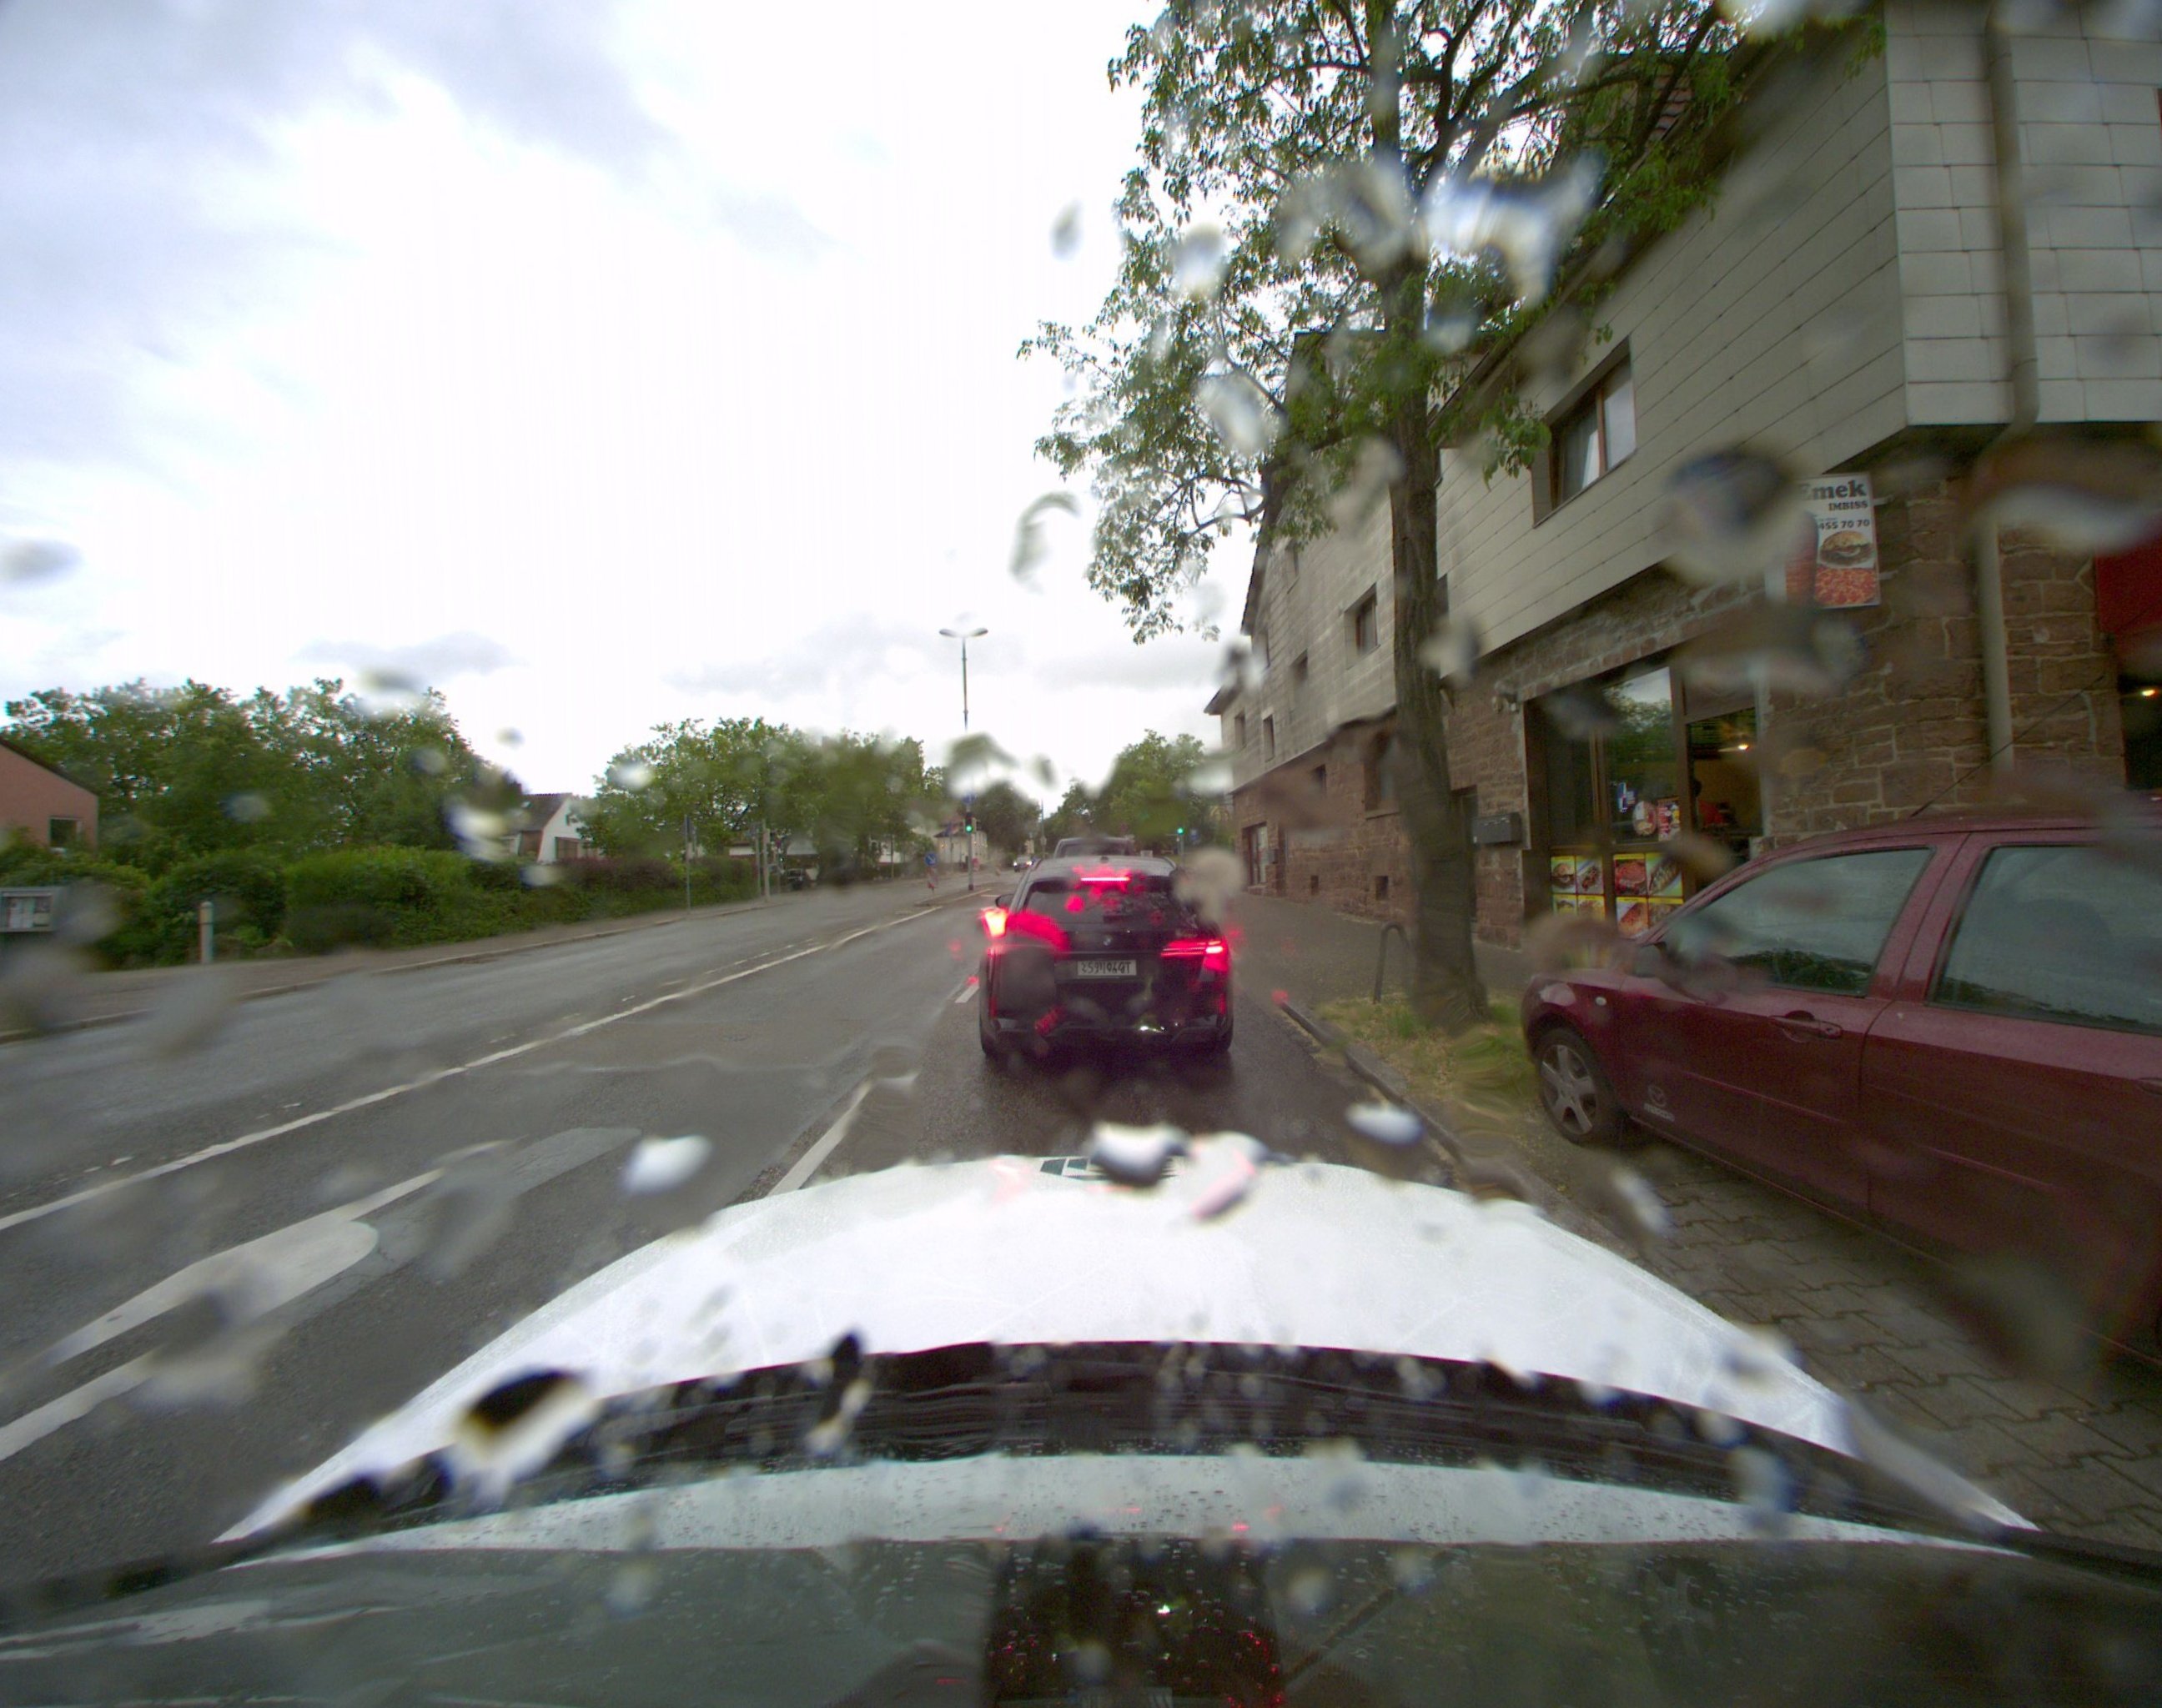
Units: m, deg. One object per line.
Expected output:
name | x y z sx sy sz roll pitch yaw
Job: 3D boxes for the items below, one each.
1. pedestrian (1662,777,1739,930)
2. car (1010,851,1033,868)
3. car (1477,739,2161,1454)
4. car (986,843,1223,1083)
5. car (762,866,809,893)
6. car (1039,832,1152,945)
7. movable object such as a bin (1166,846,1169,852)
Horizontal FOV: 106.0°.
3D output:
pedestrian | 6.882 -0.002 9.062 0.490 1.660 0.455 0 -1 1
car | -5.771 0.514 79.666 1.893 1.577 4.500 -2 1 -1
car | 3.059 0.540 2.686 1.606 1.504 3.754 0 -2 -1
car | 0.122 0.714 7.020 1.519 1.534 3.530 0 -1 -1
car | -20.975 1.776 57.952 1.803 1.551 4.001 0 3 0
car | 0.197 0.571 14.980 1.807 1.809 3.754 0 -1 -1
movable object such as a bin | 12.248 -0.694 115.224 0.446 0.906 0.465 -1 -1 17
